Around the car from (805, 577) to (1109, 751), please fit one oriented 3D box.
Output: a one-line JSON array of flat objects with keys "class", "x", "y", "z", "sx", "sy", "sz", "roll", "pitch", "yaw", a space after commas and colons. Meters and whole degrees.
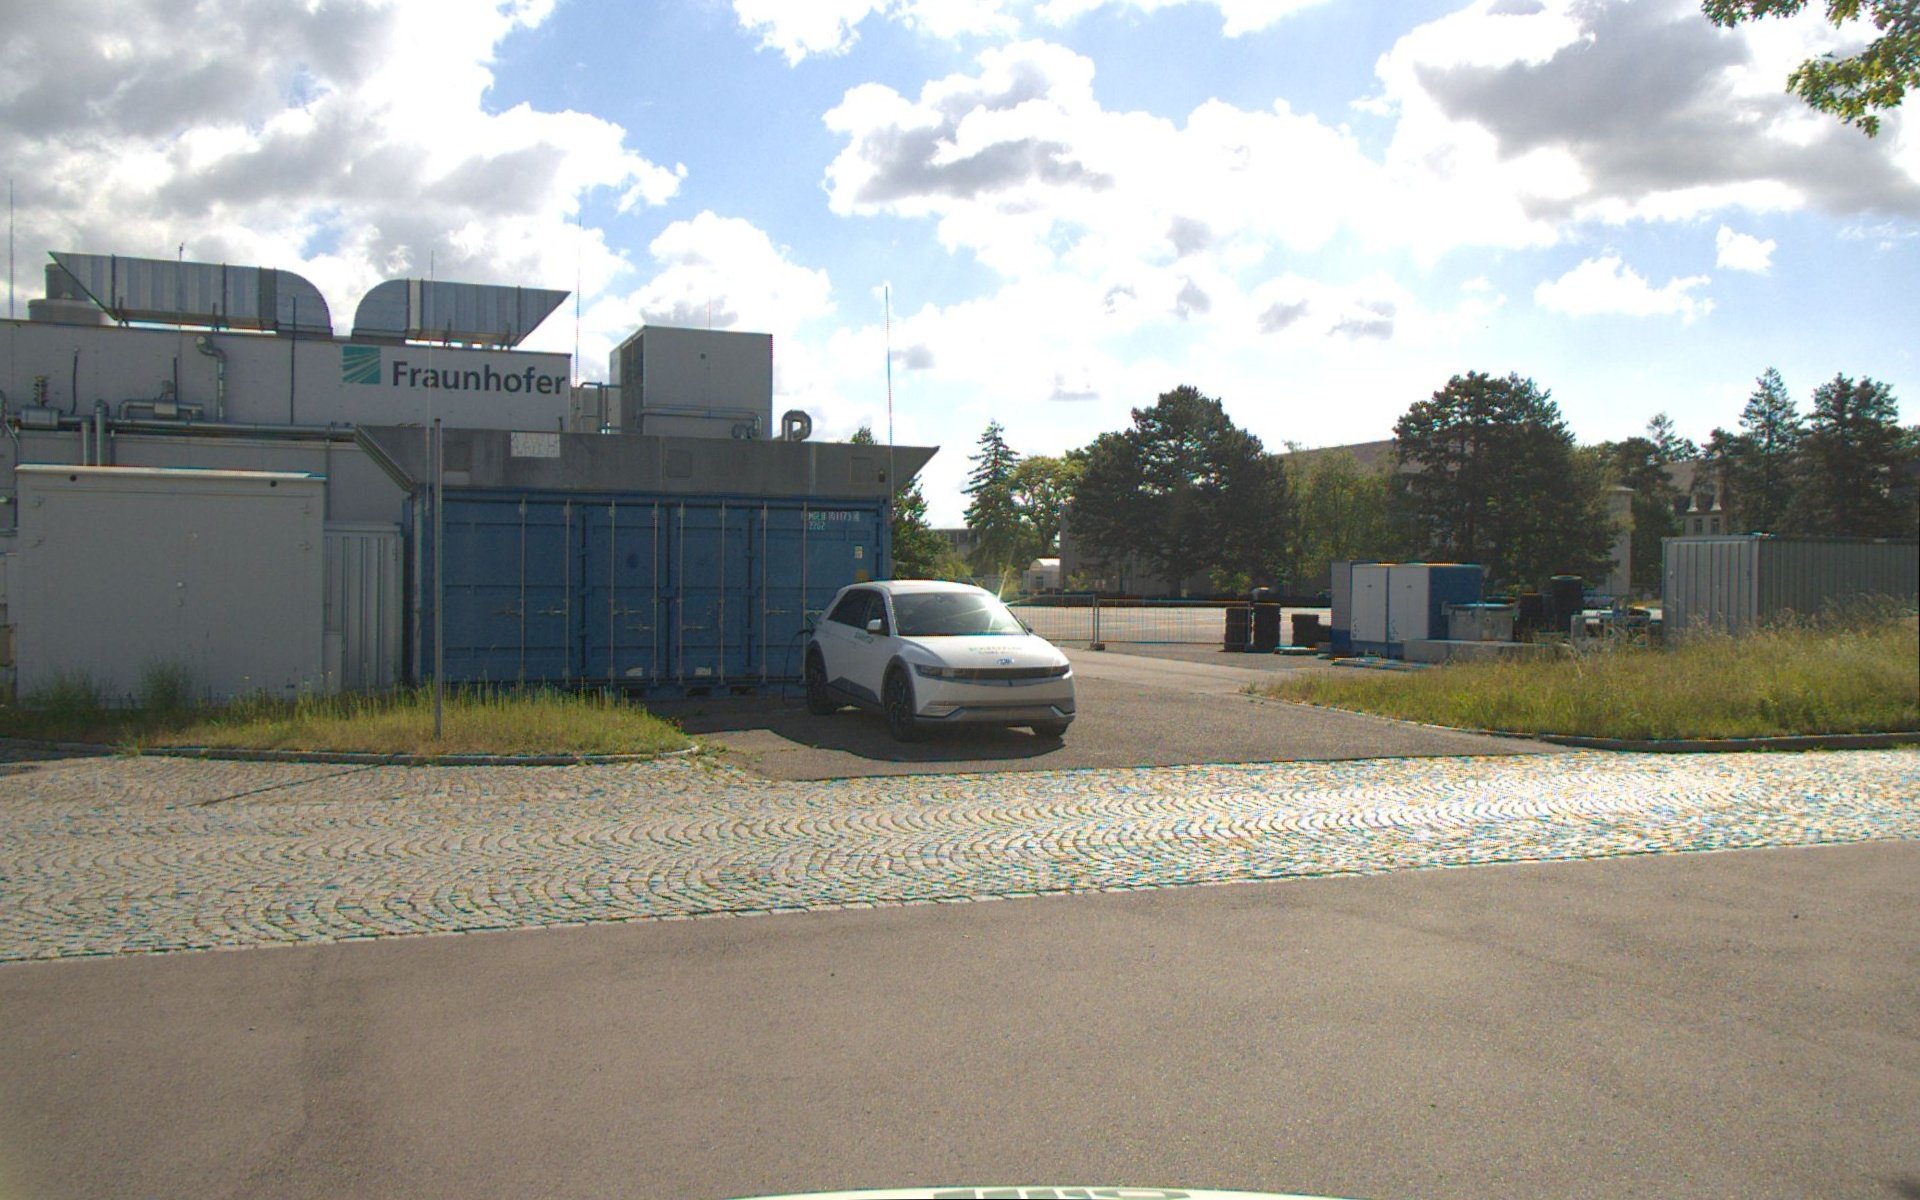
[{"class": "car", "x": -0.188, "y": 0.602, "z": 18.525, "sx": 1.953, "sy": 1.621, "sz": 4.312, "roll": 0, "pitch": 2, "yaw": -22}]
